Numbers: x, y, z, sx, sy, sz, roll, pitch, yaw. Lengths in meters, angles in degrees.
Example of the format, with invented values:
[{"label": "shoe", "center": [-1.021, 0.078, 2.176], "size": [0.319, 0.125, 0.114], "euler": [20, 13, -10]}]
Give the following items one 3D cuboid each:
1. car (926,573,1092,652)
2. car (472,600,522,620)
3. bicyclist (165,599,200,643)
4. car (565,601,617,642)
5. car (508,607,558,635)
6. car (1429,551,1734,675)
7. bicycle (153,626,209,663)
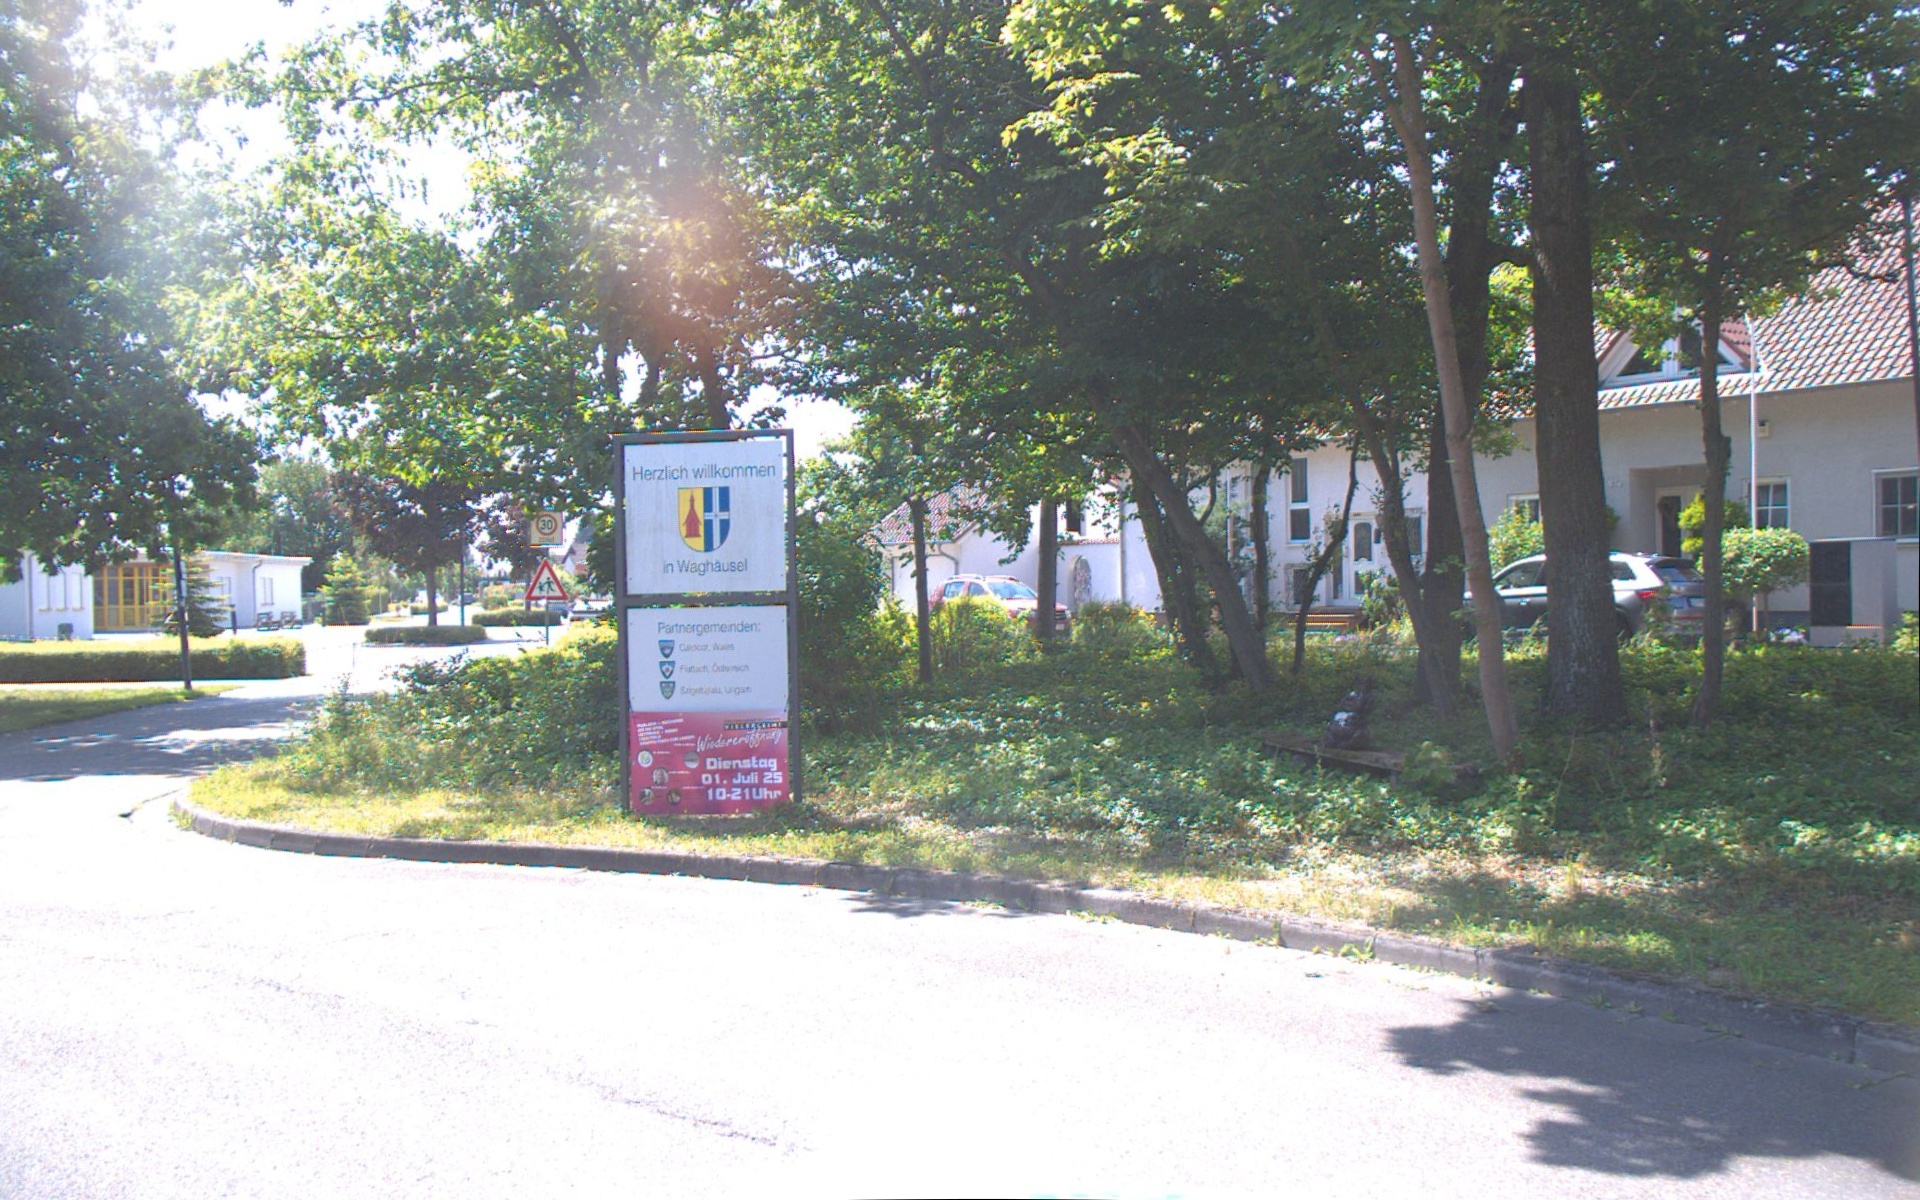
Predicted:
[{"label": "car", "center": [1.047, 0.272, 37.081], "size": [1.647, 1.629, 3.976], "euler": [-2, 0, -35]}, {"label": "car", "center": [-31.506, 0.670, 112.432], "size": [1.979, 1.310, 3.948], "euler": [-2, 0, -36]}, {"label": "bicyclist", "center": [-21.373, 0.582, 45.483], "size": [0.584, 1.185, 0.649], "euler": [-2, 0, 8]}, {"label": "car", "center": [-12.926, 0.729, 58.048], "size": [1.585, 1.311, 3.548], "euler": [-1, 0, -10]}, {"label": "car", "center": [-24.563, 1.192, 95.076], "size": [1.613, 1.512, 3.955], "euler": [-2, 0, -32]}, {"label": "car", "center": [9.377, 0.187, 25.210], "size": [1.650, 1.735, 4.083], "euler": [-2, 0, -40]}, {"label": "bicycle", "center": [-21.364, 1.221, 45.405], "size": [0.584, 0.945, 1.622], "euler": [-2, 1, 8]}]
